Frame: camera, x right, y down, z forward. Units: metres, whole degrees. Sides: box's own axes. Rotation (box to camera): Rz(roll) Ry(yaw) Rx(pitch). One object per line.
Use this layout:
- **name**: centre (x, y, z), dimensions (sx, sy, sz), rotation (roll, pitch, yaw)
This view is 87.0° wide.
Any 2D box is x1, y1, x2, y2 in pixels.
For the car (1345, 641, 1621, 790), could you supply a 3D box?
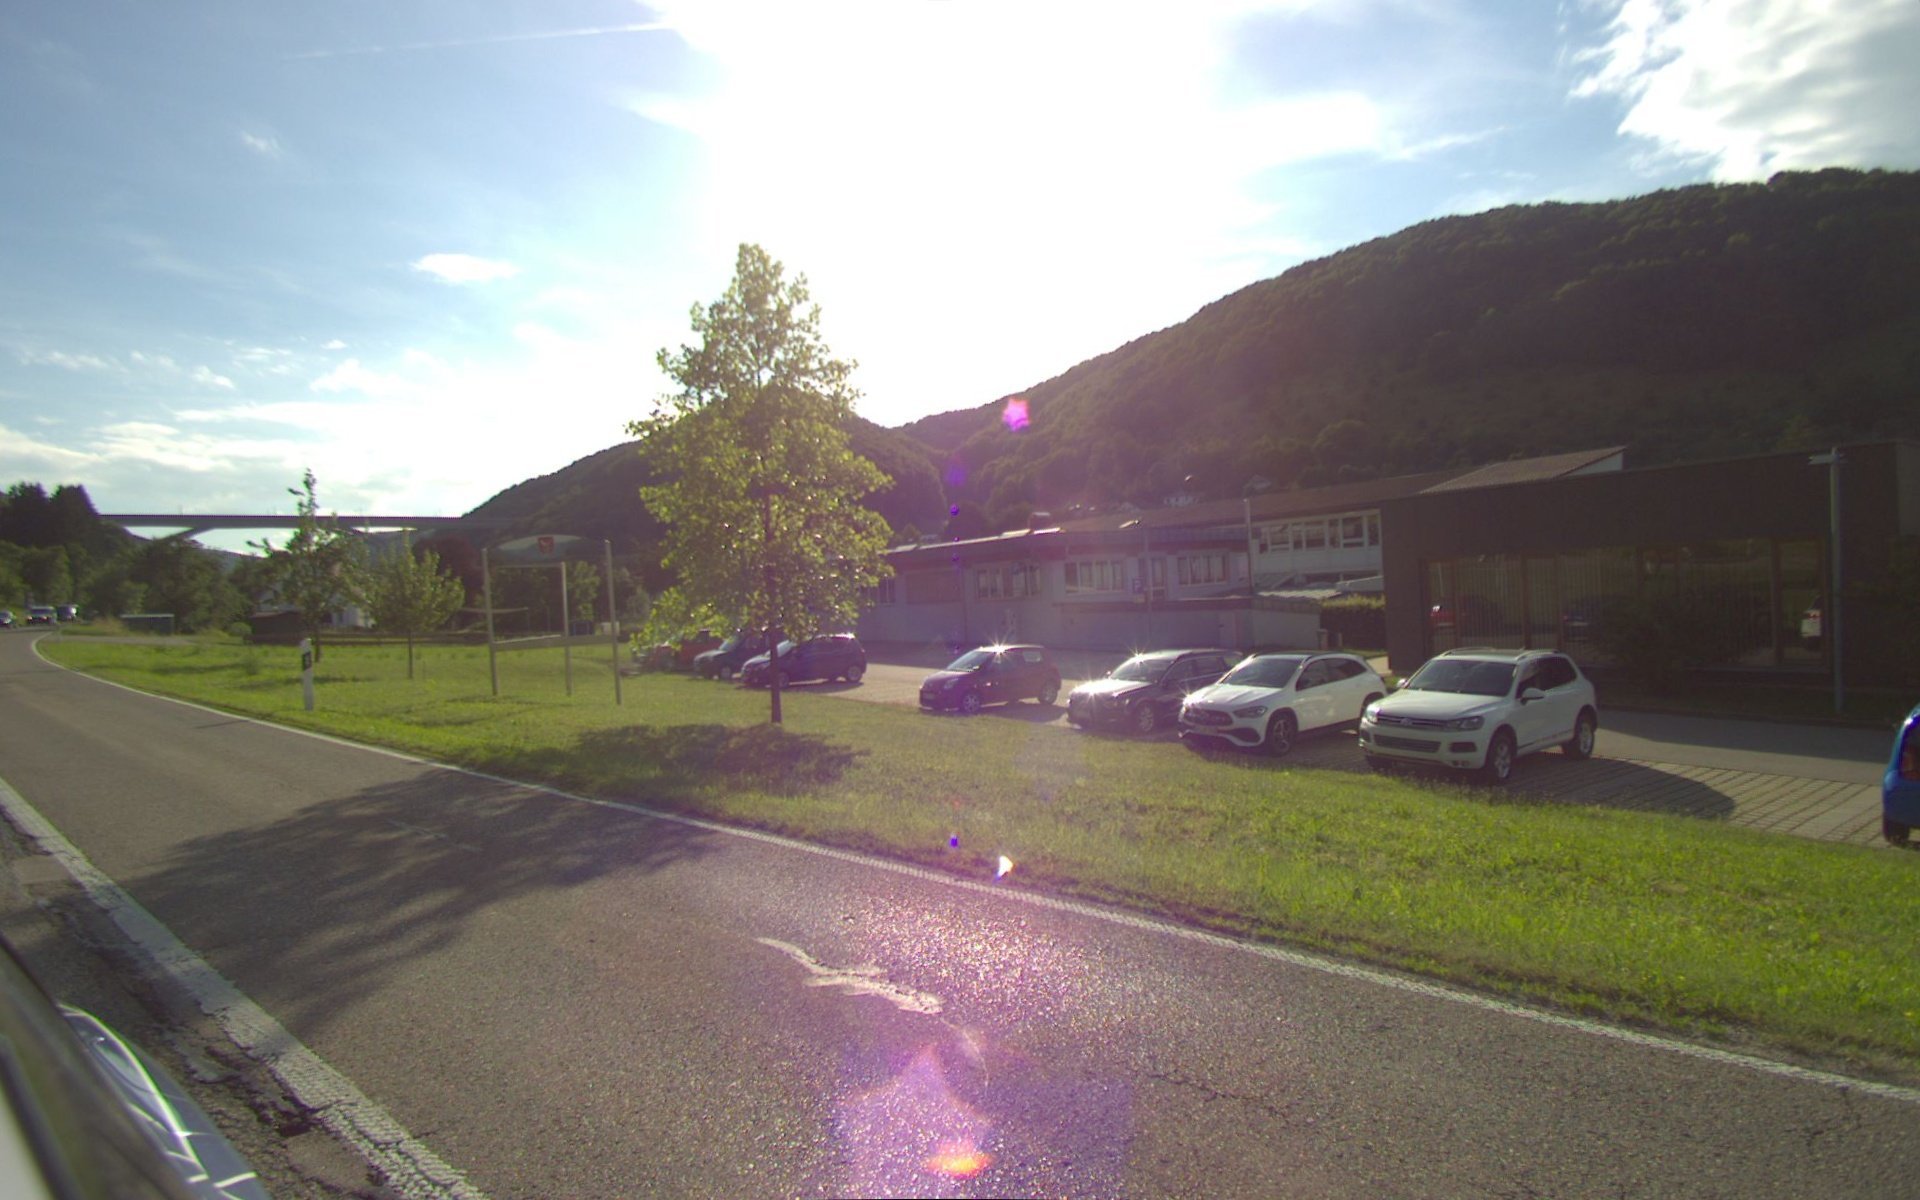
- **car**: centre (8.032, 1.592, 15.395), dimensions (4.480, 1.716, 2.004), rotation (-1, 0, -37)

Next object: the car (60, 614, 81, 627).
- **car**: centre (-101.605, 2.327, 115.614), dimensions (1.605, 1.490, 3.687), rotation (-1, 0, -38)

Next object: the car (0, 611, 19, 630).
- **car**: centre (-78.847, 1.709, 83.425), dimensions (1.605, 1.490, 3.687), rotation (-1, 0, -38)

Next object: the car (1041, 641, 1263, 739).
- **car**: centre (3.996, 1.741, 20.772), dimensions (4.480, 1.566, 2.004), rotation (-1, 0, -37)

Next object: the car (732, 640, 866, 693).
- **car**: centre (-5.169, 2.120, 32.701), dimensions (3.957, 1.463, 1.687), rotation (-1, -2, -39)

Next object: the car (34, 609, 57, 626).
- **car**: centre (-88.707, 1.677, 98.145), dimensions (1.606, 1.490, 3.683), rotation (-1, 0, -42)

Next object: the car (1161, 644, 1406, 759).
- **car**: centre (5.879, 1.696, 18.177), dimensions (4.480, 1.566, 2.004), rotation (-1, 0, -37)

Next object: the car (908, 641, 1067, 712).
- **car**: centre (0.702, 1.805, 24.666), dimensions (3.672, 1.408, 1.619), rotation (-1, 0, -38)

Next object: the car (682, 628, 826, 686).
- **car**: centre (-7.484, 2.036, 37.029), dimensions (4.928, 1.807, 1.688), rotation (-1, 0, -39)

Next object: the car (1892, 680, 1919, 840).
- **car**: centre (11.340, 1.639, 10.771), dimensions (3.449, 1.483, 1.636), rotation (-1, 0, -40)

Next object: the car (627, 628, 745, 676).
- **car**: centre (-11.142, 2.057, 41.177), dimensions (4.262, 1.682, 1.853), rotation (-1, 0, -33)

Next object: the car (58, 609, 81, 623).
- **car**: centre (-95.921, 1.731, 109.001), dimensions (1.605, 1.490, 3.687), rotation (-1, 0, -38)

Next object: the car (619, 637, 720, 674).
- **car**: centre (-12.580, 2.381, 43.913), dimensions (3.835, 1.379, 1.857), rotation (0, 0, -36)
